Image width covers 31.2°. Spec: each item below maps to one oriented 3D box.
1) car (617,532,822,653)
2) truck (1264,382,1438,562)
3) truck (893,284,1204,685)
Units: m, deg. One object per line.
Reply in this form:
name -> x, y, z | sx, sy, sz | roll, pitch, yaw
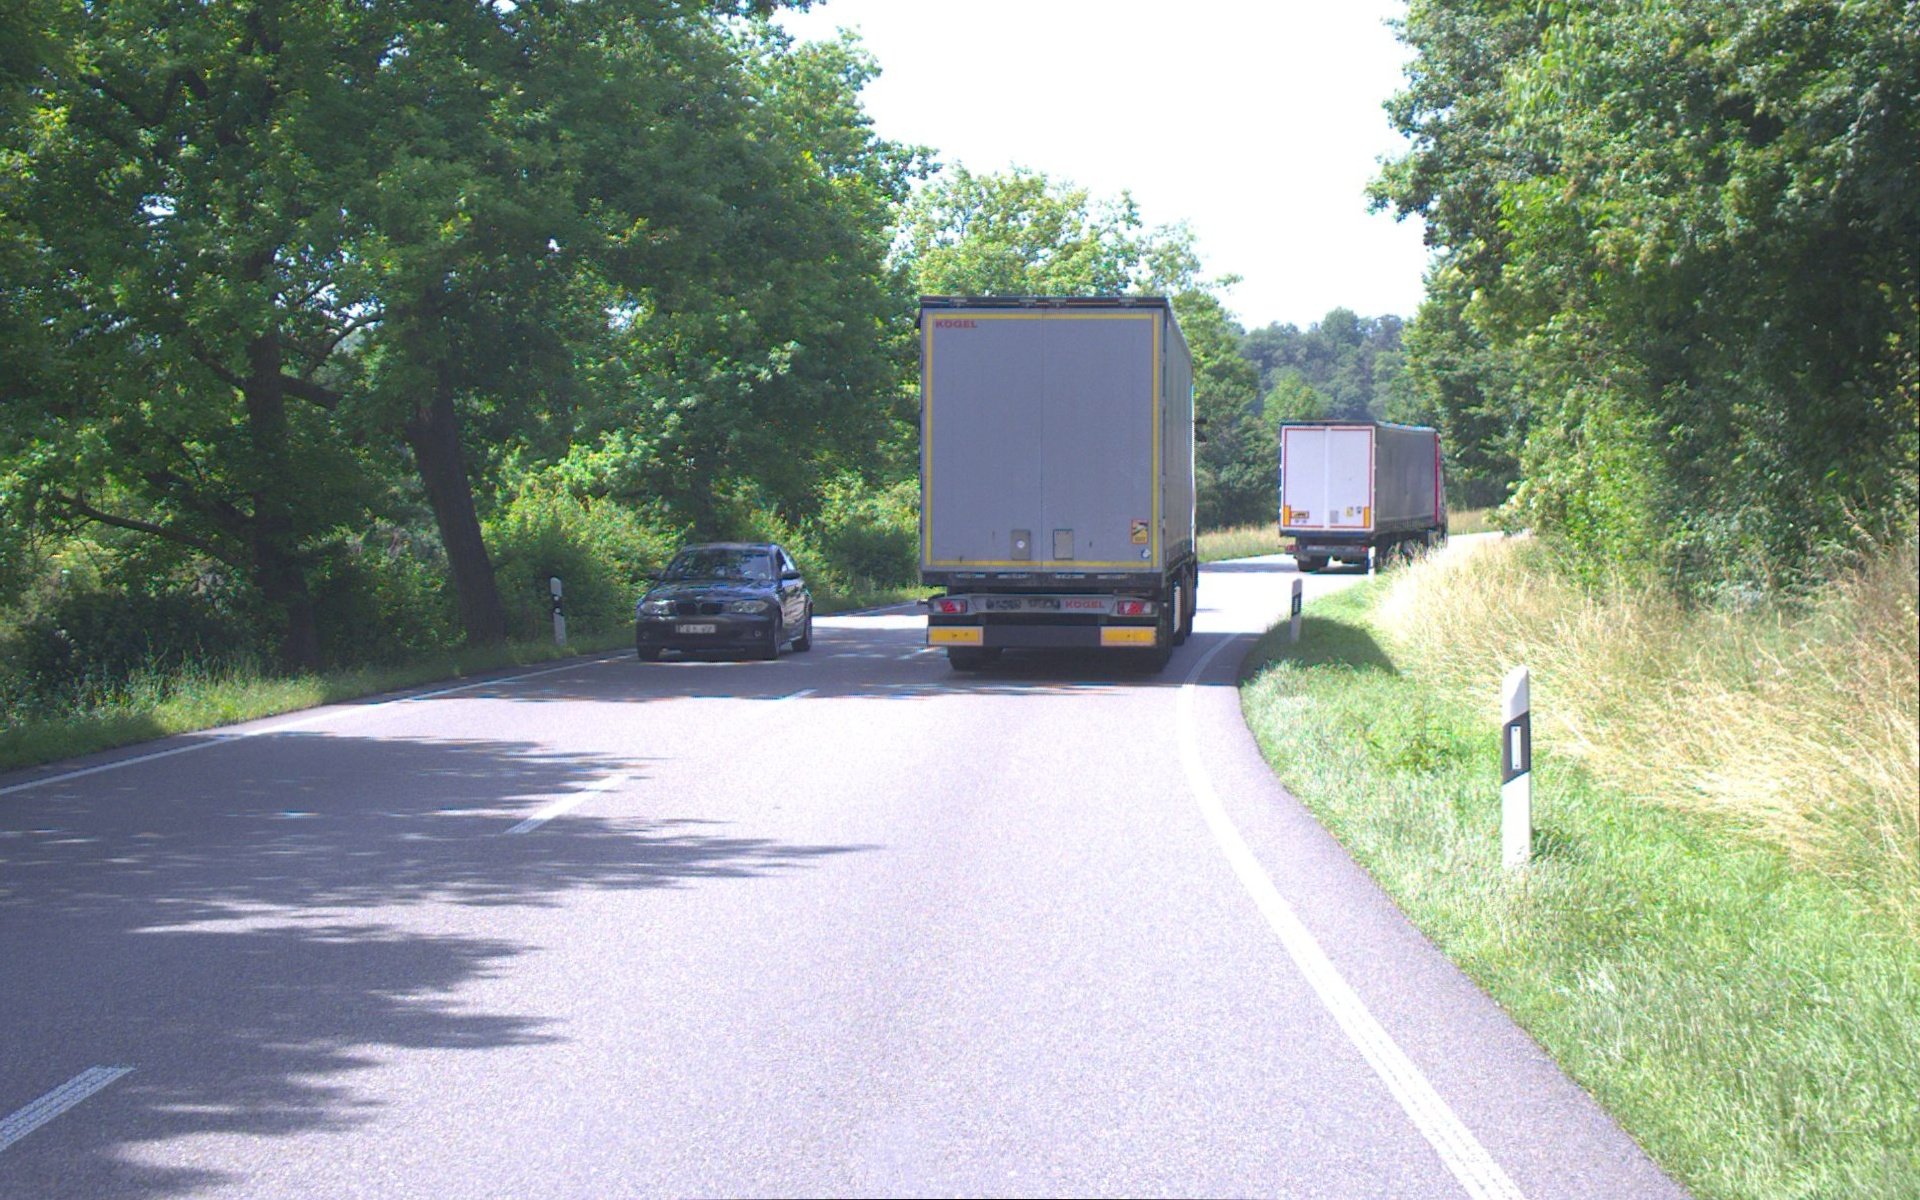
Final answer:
car -> -2.922, -0.130, 42.719 | 1.759, 1.427, 4.269 | 0, 1, 7
truck -> 11.375, -3.633, 98.271 | 3.106, 4.689, 16.581 | 0, 2, 13
truck -> 1.442, -1.425, 42.940 | 2.802, 4.054, 15.324 | 1, 2, 5
